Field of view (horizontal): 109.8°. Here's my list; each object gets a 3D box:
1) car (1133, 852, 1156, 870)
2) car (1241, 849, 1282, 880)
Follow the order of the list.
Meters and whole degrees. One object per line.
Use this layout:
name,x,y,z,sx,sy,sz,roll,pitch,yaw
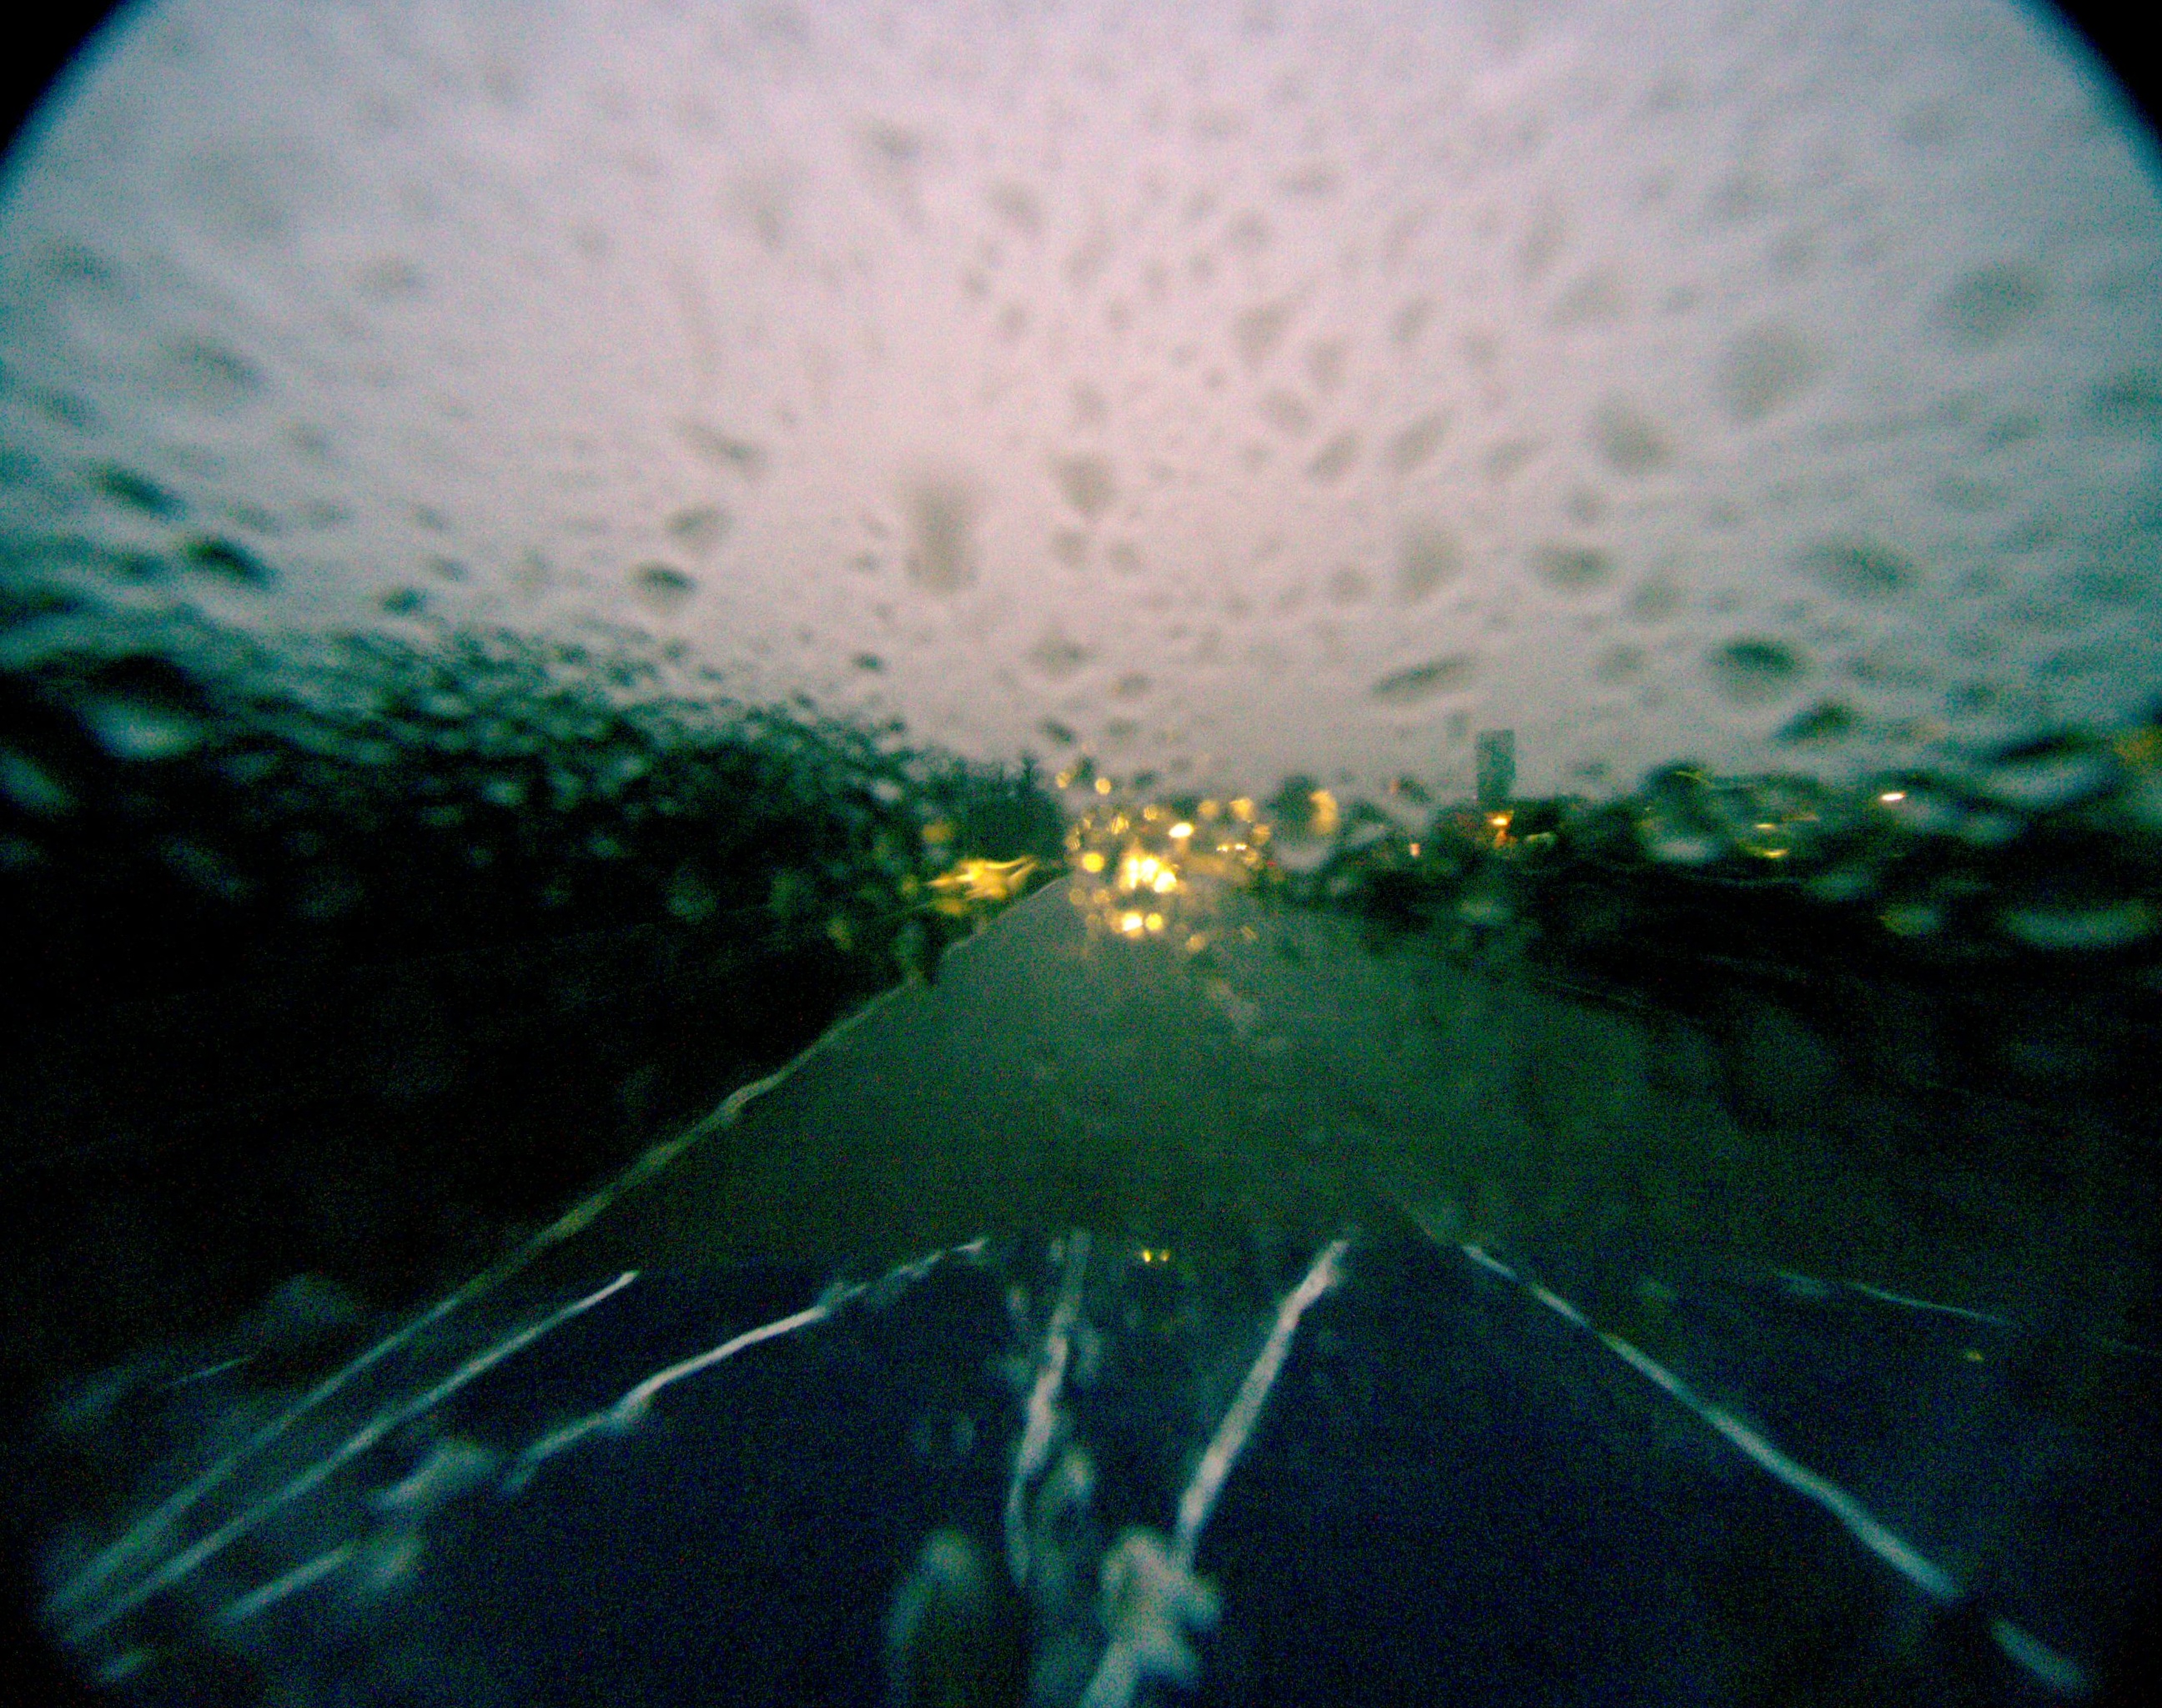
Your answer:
car,5.897,0.656,70.774,1.886,1.513,4.000,-3,0,2
car,11.547,0.652,48.762,1.998,1.838,3.673,-2,1,5
